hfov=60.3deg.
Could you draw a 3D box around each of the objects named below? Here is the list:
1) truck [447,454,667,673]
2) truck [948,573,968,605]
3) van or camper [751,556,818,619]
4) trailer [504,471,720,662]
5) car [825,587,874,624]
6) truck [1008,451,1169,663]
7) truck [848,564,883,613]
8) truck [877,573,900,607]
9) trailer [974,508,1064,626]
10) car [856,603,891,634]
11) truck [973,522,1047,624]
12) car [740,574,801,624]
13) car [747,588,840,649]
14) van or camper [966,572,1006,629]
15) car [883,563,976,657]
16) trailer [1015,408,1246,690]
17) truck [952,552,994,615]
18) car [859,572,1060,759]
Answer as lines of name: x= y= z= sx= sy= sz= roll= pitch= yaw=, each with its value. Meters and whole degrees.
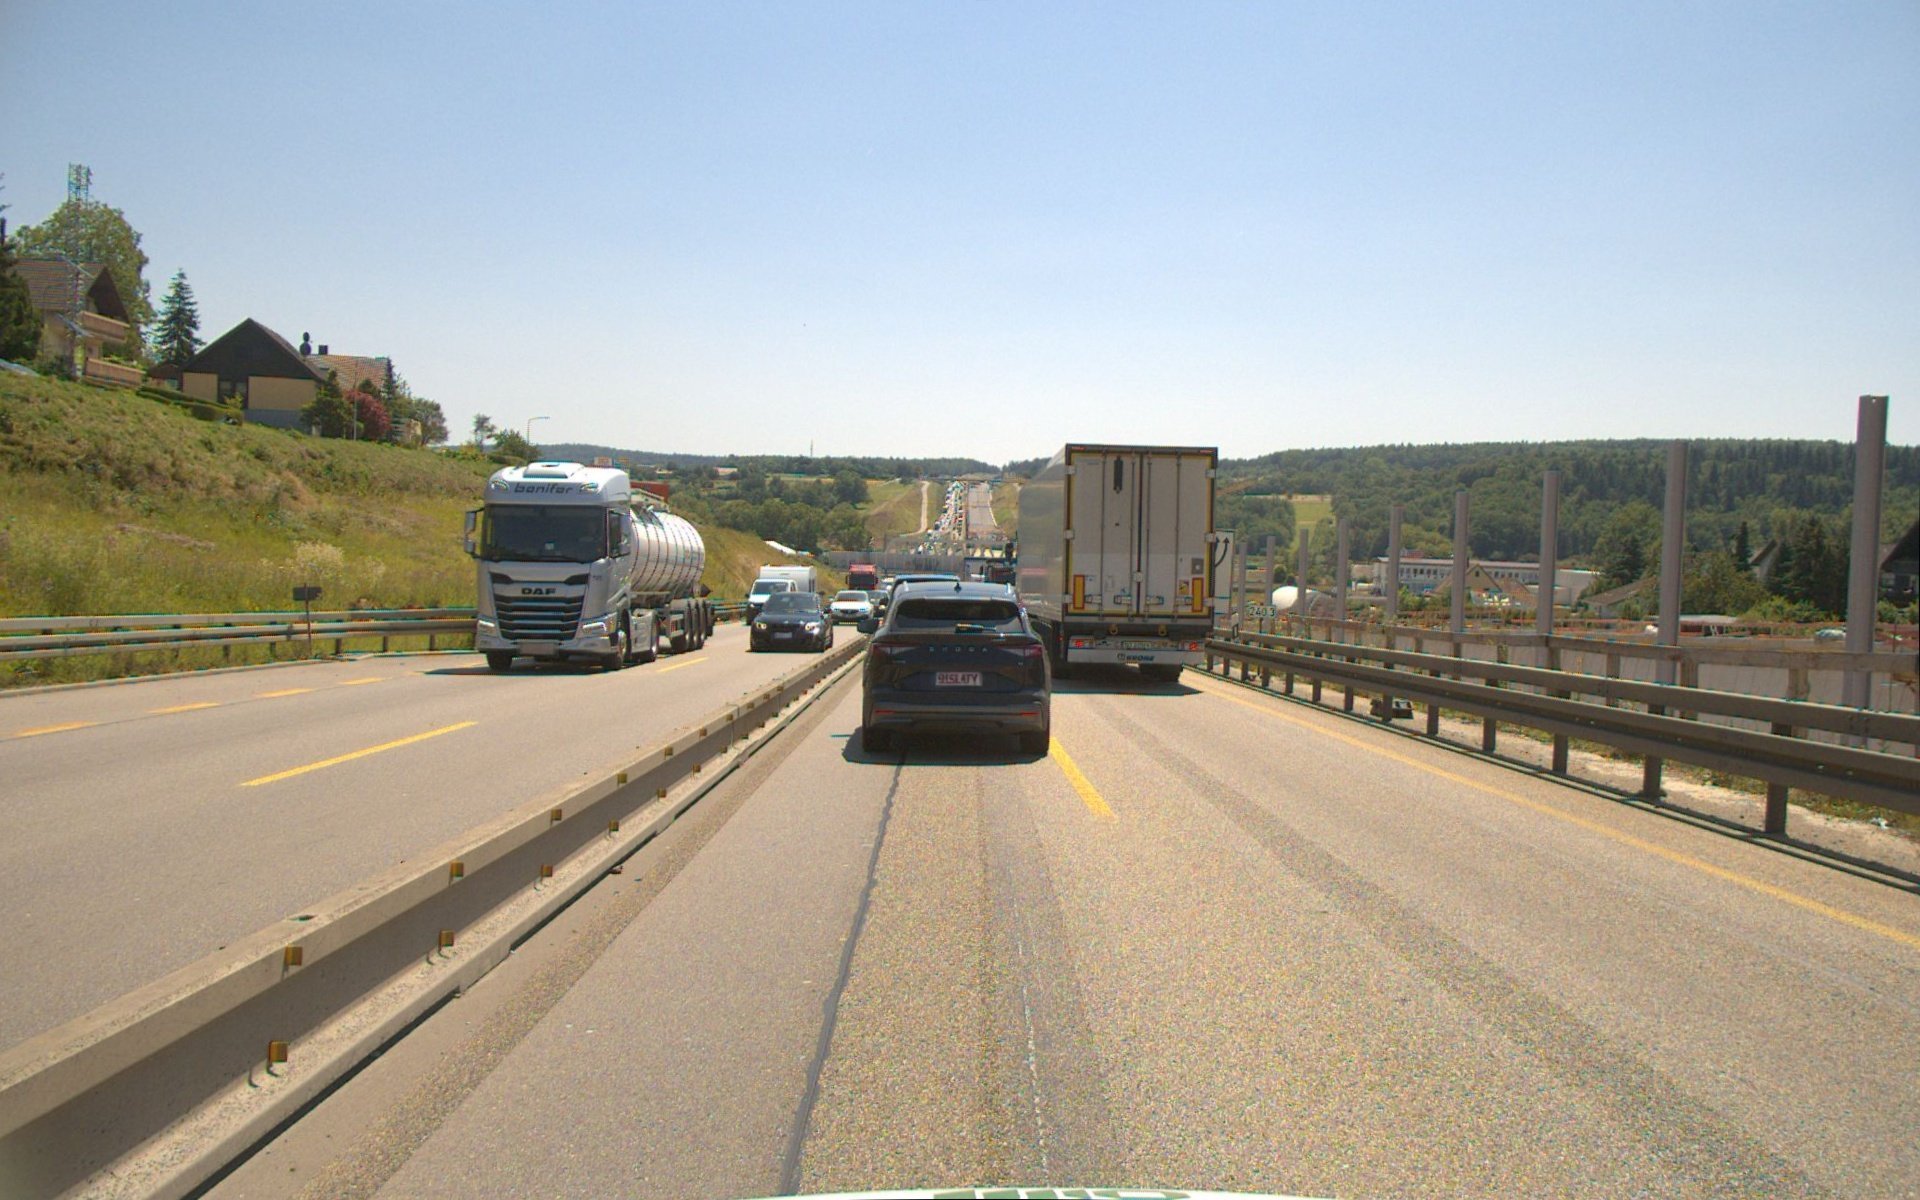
truck: x=-7.506 y=-0.647 z=31.668 sx=2.722 sy=3.737 sz=6.275 roll=1 pitch=0 yaw=-1
truck: x=-0.310 y=-1.471 z=232.129 sx=2.586 sy=4.267 sz=9.282 roll=1 pitch=-1 yaw=-1
van or camper: x=-8.018 y=-0.593 z=76.176 sx=2.309 sy=2.723 sz=7.856 roll=1 pitch=0 yaw=-1
trailer: x=-7.616 y=-0.688 z=38.072 sx=2.661 sy=3.657 sz=11.792 roll=1 pitch=0 yaw=-1
car: x=-4.676 y=0.228 z=70.498 sx=1.874 sy=1.506 sz=4.635 roll=1 pitch=0 yaw=-1
truck: x=2.936 y=-0.984 z=40.309 sx=3.116 sy=4.591 sz=8.164 roll=1 pitch=1 yaw=-1
truck: x=-8.796 y=-0.997 z=154.548 sx=2.794 sy=4.212 sz=11.913 roll=1 pitch=-1 yaw=-1
truck: x=-9.909 y=-1.307 z=229.634 sx=2.794 sy=4.414 sz=11.913 roll=1 pitch=-1 yaw=-1
trailer: x=2.378 y=-1.195 z=72.481 sx=3.116 sy=4.592 sz=14.963 roll=1 pitch=-1 yaw=-1
car: x=-4.300 y=0.901 z=82.498 sx=1.632 sy=1.438 sz=3.816 roll=1 pitch=0 yaw=-2
truck: x=2.312 y=-1.166 z=79.482 sx=3.116 sy=4.592 sz=8.163 roll=1 pitch=-1 yaw=-1
car: x=-7.922 y=-0.050 z=69.575 sx=1.953 sy=2.005 sz=5.342 roll=1 pitch=0 yaw=-1
car: x=-4.146 y=0.426 z=41.834 sx=1.856 sy=1.439 sz=4.679 roll=0 pitch=0 yaw=0
van or camper: x=1.630 y=0.095 z=101.402 sx=2.339 sy=3.338 sz=6.469 roll=1 pitch=-1 yaw=1
car: x=-0.682 y=0.249 z=37.519 sx=1.953 sy=1.959 sz=4.506 roll=1 pitch=-1 yaw=-1
trailer: x=3.036 y=-0.914 z=33.836 sx=3.116 sy=4.591 sz=13.106 roll=1 pitch=1 yaw=-1
truck: x=0.922 y=-1.143 z=127.963 sx=2.794 sy=4.543 sz=11.913 roll=1 pitch=-1 yaw=-1
car: x=-0.010 y=0.599 z=16.740 sx=1.765 sy=1.635 sz=4.000 roll=1 pitch=0 yaw=0
